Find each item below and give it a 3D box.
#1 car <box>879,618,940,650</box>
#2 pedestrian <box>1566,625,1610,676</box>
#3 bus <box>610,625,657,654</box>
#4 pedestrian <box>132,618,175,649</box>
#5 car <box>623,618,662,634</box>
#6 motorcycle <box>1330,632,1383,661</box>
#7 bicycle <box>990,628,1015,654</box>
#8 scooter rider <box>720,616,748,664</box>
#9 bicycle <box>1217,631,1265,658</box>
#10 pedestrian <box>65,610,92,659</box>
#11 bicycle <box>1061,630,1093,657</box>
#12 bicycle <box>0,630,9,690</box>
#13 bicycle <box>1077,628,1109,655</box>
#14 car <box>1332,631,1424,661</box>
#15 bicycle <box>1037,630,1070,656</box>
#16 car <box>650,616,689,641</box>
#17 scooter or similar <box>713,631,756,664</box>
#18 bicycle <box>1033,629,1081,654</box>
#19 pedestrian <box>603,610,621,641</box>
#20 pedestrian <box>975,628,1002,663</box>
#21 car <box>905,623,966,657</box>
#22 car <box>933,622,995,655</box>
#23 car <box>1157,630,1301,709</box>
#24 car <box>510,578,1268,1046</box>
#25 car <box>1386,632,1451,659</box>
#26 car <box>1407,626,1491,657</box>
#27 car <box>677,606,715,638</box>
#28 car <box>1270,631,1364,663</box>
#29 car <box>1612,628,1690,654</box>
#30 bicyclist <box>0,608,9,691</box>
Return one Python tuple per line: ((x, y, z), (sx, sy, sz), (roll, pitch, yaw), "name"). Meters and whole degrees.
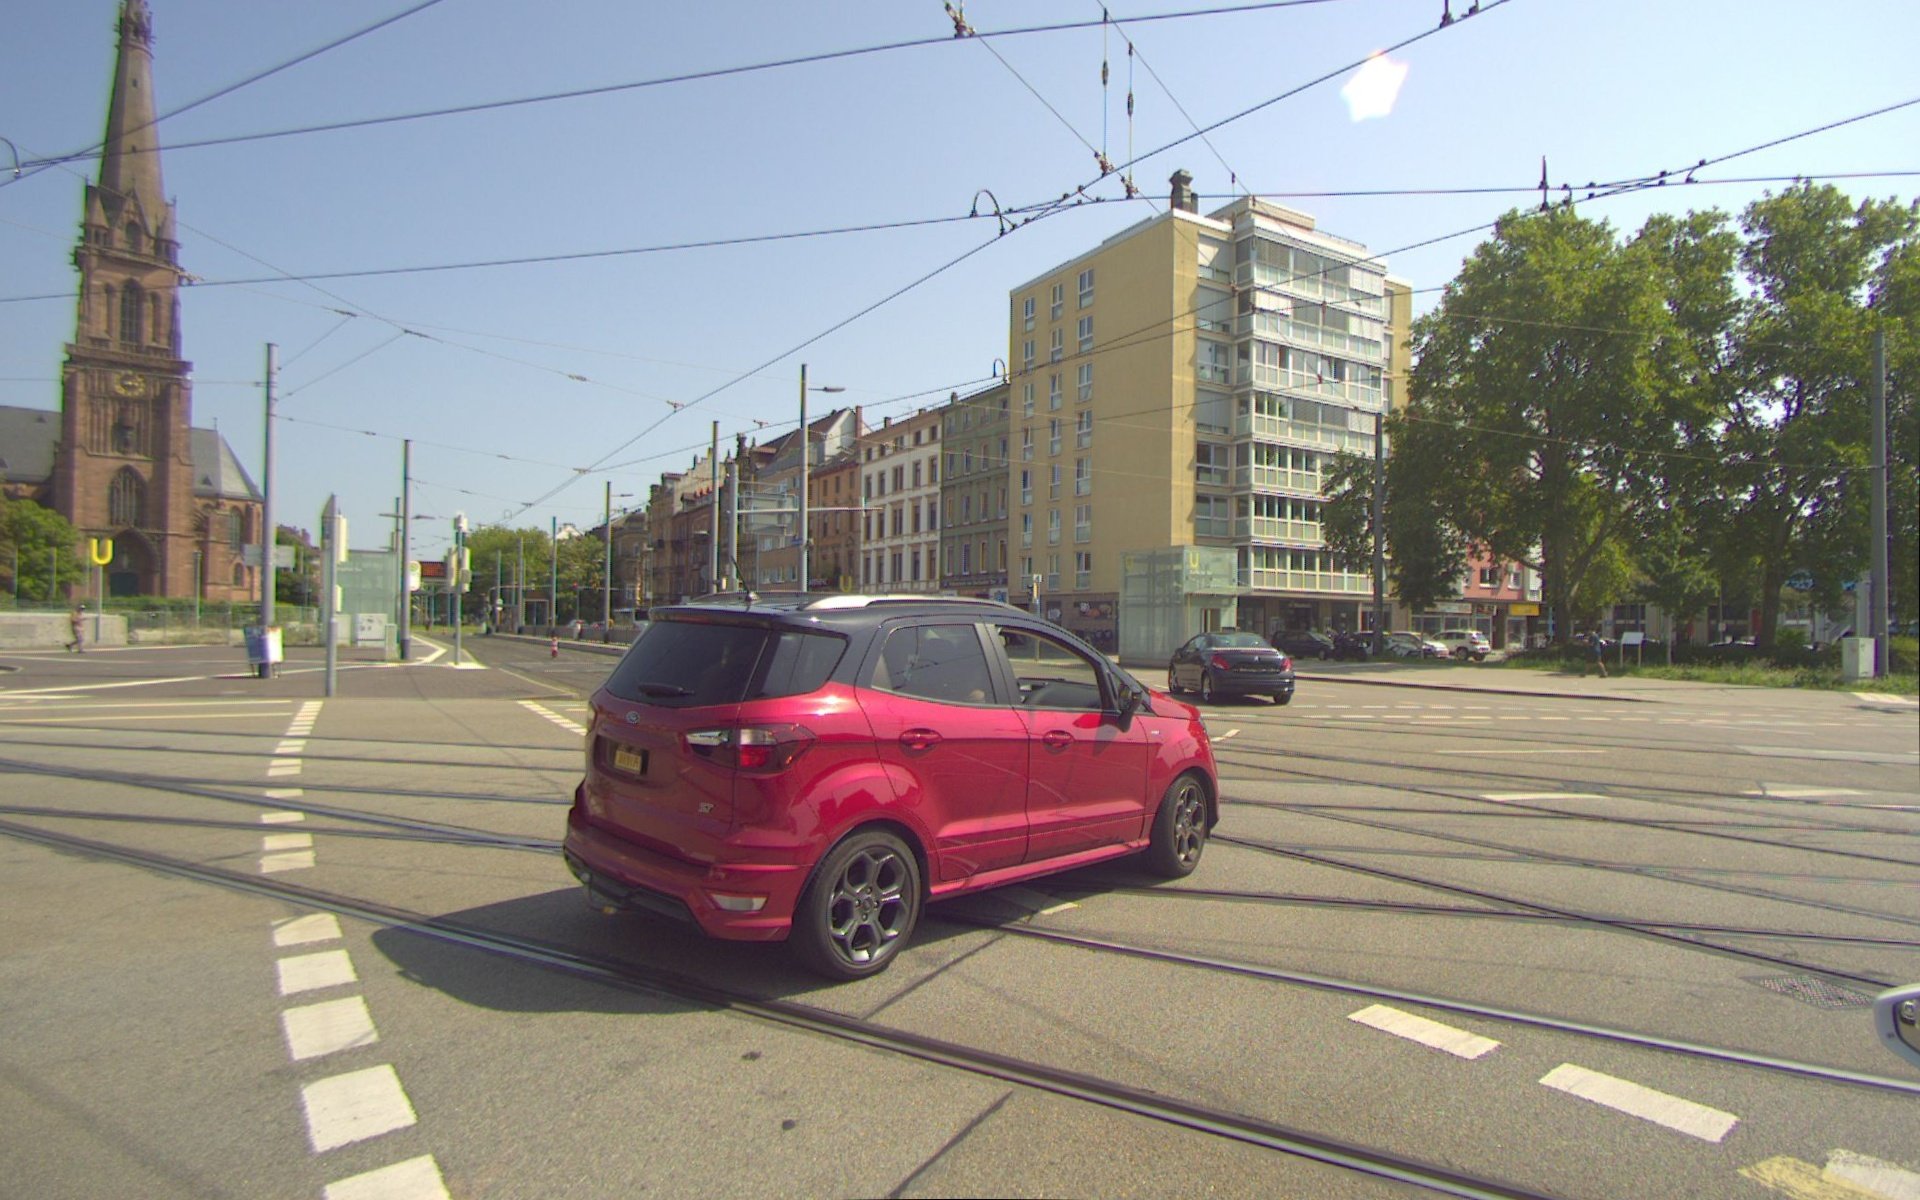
((-2.842, 1.942, 58.006), (2.003, 1.736, 4.667), (0, -1, 18), "car")
((20.354, 1.631, 32.563), (0.785, 1.630, 0.941), (1, -2, -34), "pedestrian")
((-37.041, 4.381, 113.662), (2.513, 3.072, 12.335), (1, -2, -30), "bus")
((-39.478, 1.629, 49.180), (1.664, 1.505, 0.615), (0, -1, 5), "pedestrian")
((-30.177, 2.469, 95.340), (1.980, 1.305, 5.490), (2, 0, -35), "car")
((16.354, 1.927, 41.504), (0.898, 1.152, 2.104), (1, -2, -18), "motorcycle")
((2.239, 2.170, 53.138), (0.469, 1.313, 1.779), (0, -2, -28), "bicycle")
((-8.138, 1.433, 36.193), (0.766, 1.695, 0.772), (1, -1, -33), "scooter rider")
((13.767, 2.159, 49.312), (0.785, 1.255, 2.415), (1, -2, -31), "bicycle")
((-31.267, 1.224, 35.627), (0.789, 1.681, 0.571), (2, 0, 41), "pedestrian")
((6.551, 2.399, 55.979), (0.887, 1.423, 3.363), (0, -1, 23), "bicycle")
((-17.304, 1.072, 17.444), (0.607, 1.083, 1.900), (1, -1, -27), "bicycle")
((7.389, 2.283, 55.568), (0.887, 1.423, 3.363), (0, -1, 23), "bicycle")
((22.088, 2.420, 53.166), (1.886, 1.490, 4.208), (1, -2, -33), "car")
((5.417, 2.453, 57.924), (0.887, 1.423, 3.363), (0, -1, 23), "bicycle")
((-21.604, 2.107, 74.572), (1.776, 1.803, 3.966), (1, -1, -32), "car")
((-8.114, 1.699, 36.104), (1.328, 1.164, 0.703), (1, -1, -33), "scooter or similar")
((5.700, 2.424, 59.313), (0.894, 1.423, 3.333), (1, -1, -33), "bicycle")
((-20.479, 1.500, 59.073), (0.754, 1.774, 1.060), (1, -2, -31), "pedestrian")
((1.450, 2.286, 50.830), (0.889, 1.726, 1.035), (0, -2, 33), "pedestrian")
((-1.270, 2.136, 54.598), (1.947, 1.710, 4.394), (0, -1, 18), "car")
((0.245, 2.005, 51.632), (1.772, 1.519, 3.785), (2, -2, 24), "car")
((5.508, 1.383, 21.065), (1.761, 1.450, 3.999), (1, -1, -3), "car")
((-0.092, 0.817, 5.593), (4.055, 1.639, 1.745), (2, -2, -44), "car")
((25.804, 2.518, 56.552), (1.389, 1.447, 3.070), (1, -2, -33), "car")
((27.964, 2.336, 57.558), (1.772, 1.688, 4.037), (1, -2, -33), "car")
((-24.353, 2.004, 92.480), (2.277, 2.927, 5.561), (0, -1, -27), "car")
((17.923, 2.343, 50.576), (1.886, 1.490, 4.208), (1, -2, -33), "car")
((47.150, 2.787, 68.637), (1.772, 1.688, 4.037), (1, -2, -33), "car")
((-17.352, 0.867, 17.502), (0.866, 1.479, 0.973), (1, -1, -27), "bicyclist")
